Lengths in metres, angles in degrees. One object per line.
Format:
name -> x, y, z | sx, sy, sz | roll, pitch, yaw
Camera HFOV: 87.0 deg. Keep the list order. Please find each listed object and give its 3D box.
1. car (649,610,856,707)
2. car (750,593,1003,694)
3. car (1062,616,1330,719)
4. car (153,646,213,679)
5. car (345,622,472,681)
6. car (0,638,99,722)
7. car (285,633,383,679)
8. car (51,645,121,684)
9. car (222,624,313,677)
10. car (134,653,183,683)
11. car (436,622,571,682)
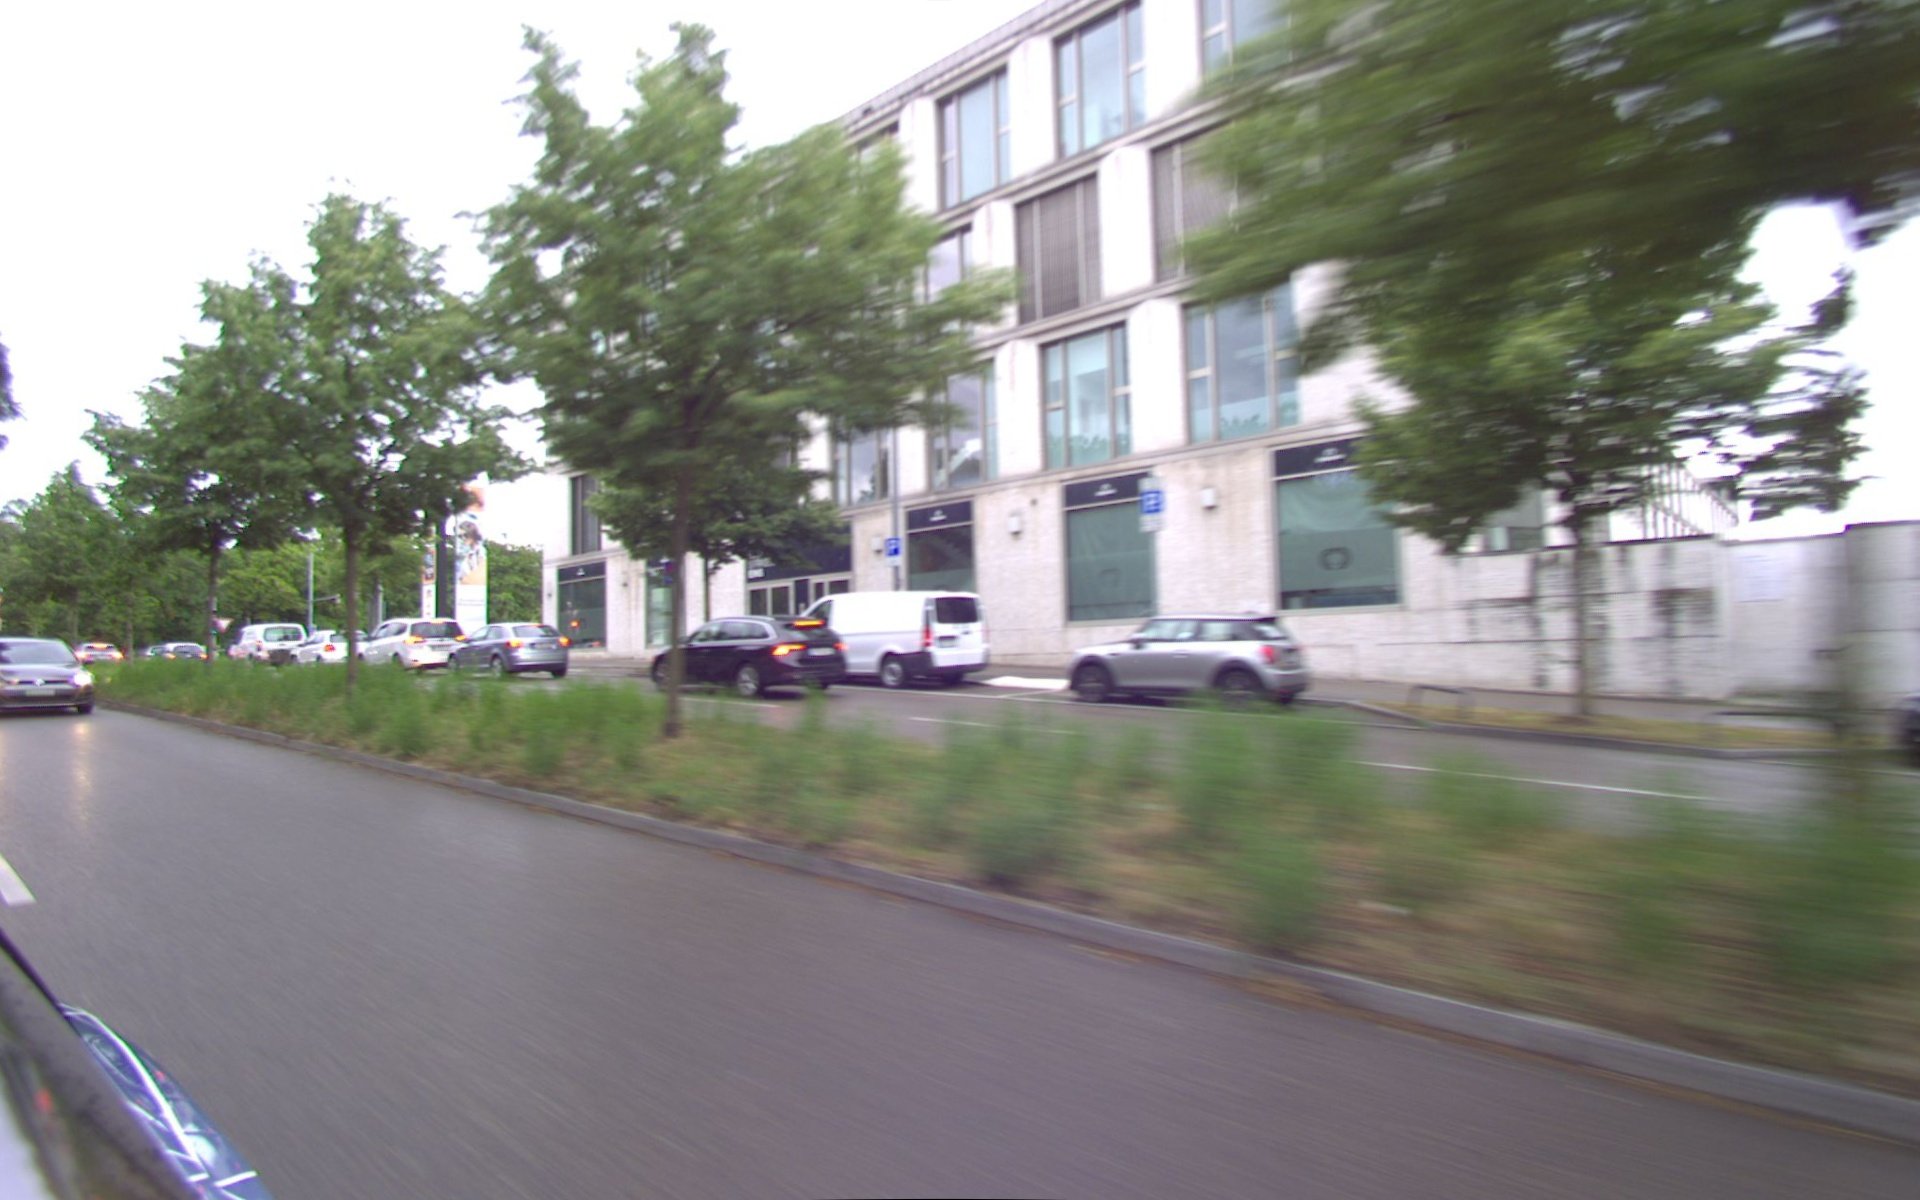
car -> -3.913, 1.013, 18.746 | 4.015, 1.593, 1.677 | -1, -1, 41
car -> -1.830, 0.880, 20.789 | 5.256, 1.830, 2.100 | -2, -2, 40
car -> 3.592, 0.972, 15.726 | 3.696, 1.395, 1.678 | -1, -1, 40
car -> -37.702, 3.047, 49.053 | 3.750, 1.471, 1.696 | -6, -6, 43
car -> -16.283, 1.493, 29.797 | 4.672, 1.613, 1.810 | -2, -3, 42
car -> -18.098, 1.525, 19.469 | 3.999, 1.450, 1.879 | -4, -3, 42
car -> -21.403, 1.904, 34.533 | 4.059, 1.479, 1.725 | -2, -4, 42
car -> -40.720, 2.999, 47.124 | 4.161, 1.587, 1.830 | -6, -4, 40
car -> -27.140, 2.005, 39.591 | 4.771, 1.816, 1.824 | -5, -4, 42
car -> -45.644, 3.890, 57.627 | 3.702, 1.588, 1.632 | -6, -6, 43
car -> -11.697, 1.367, 25.849 | 3.994, 1.422, 1.624 | -4, -5, 41
